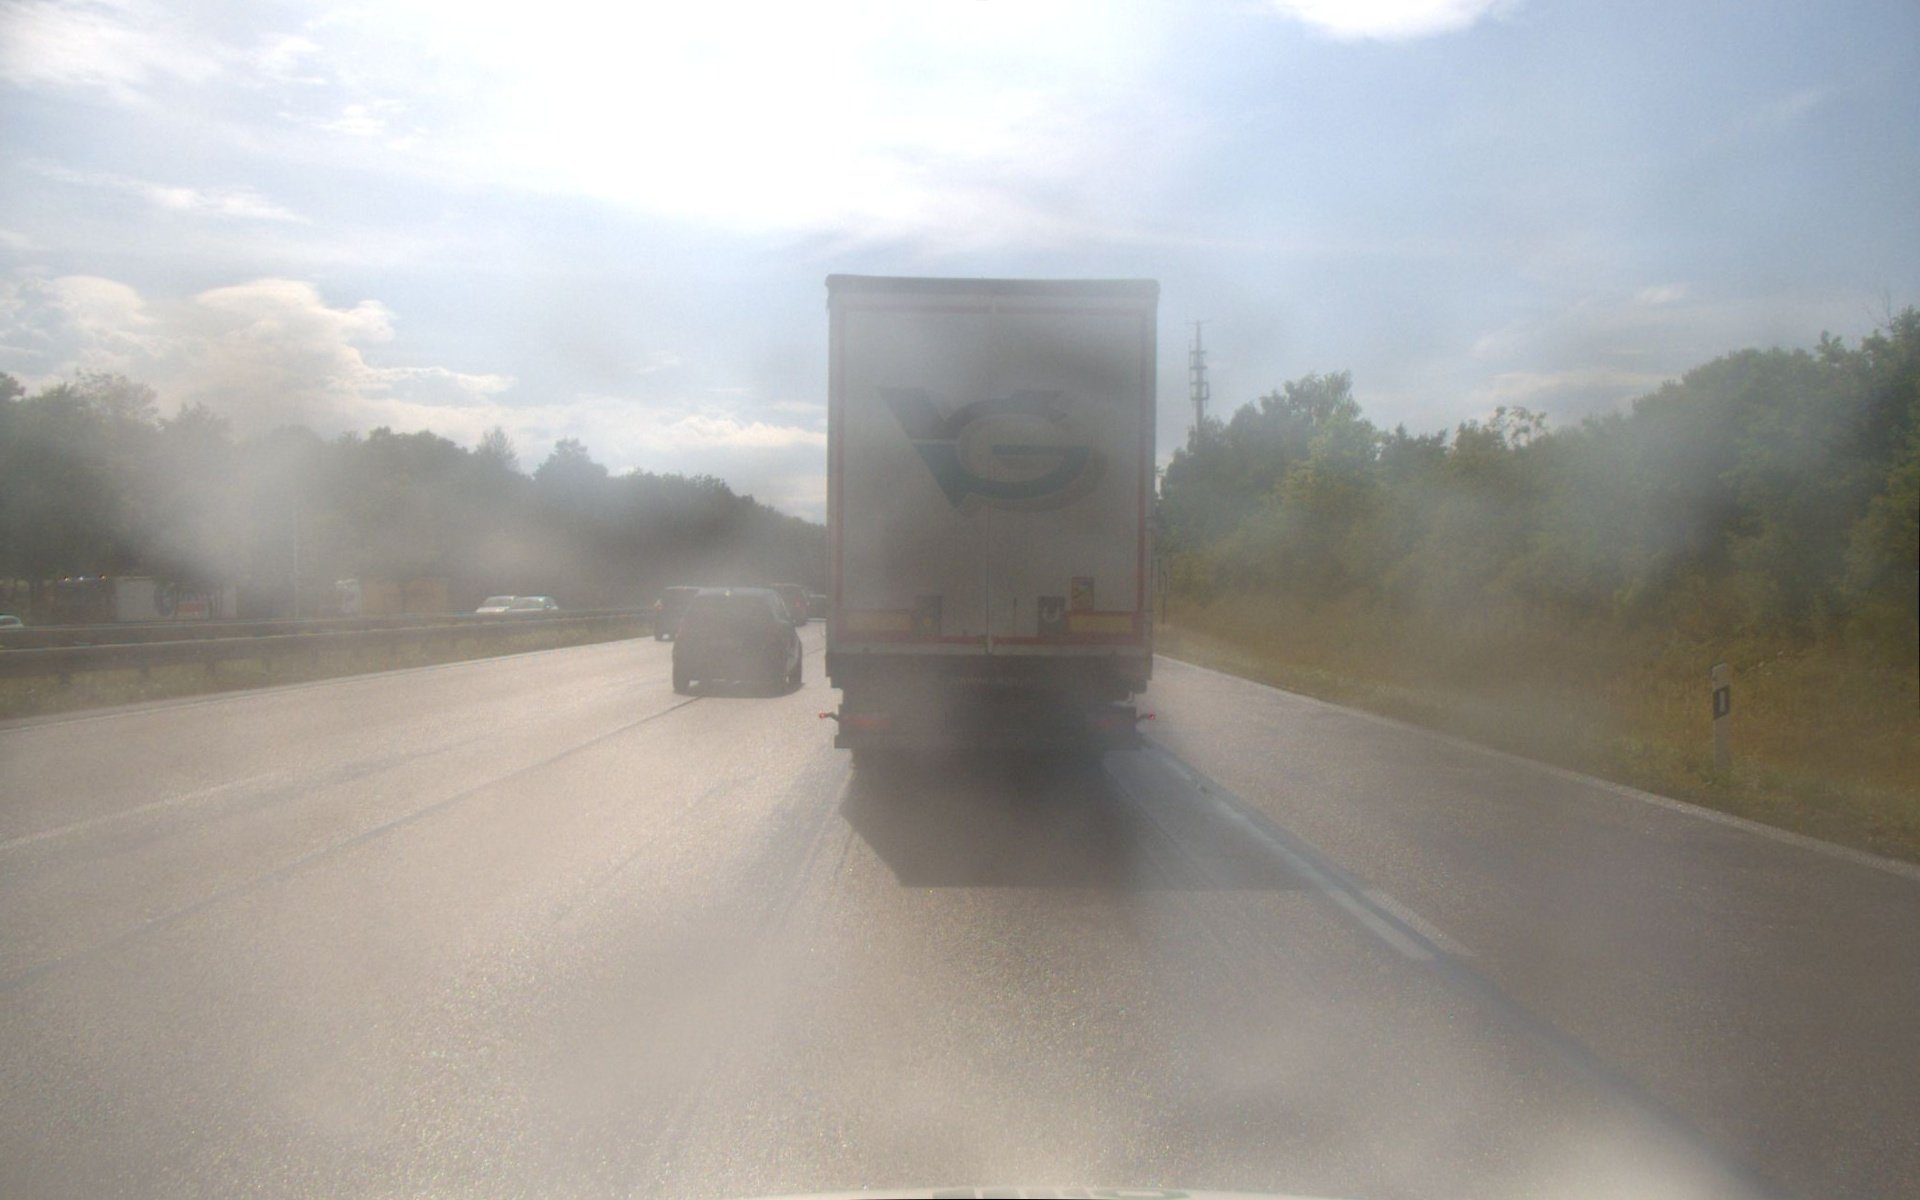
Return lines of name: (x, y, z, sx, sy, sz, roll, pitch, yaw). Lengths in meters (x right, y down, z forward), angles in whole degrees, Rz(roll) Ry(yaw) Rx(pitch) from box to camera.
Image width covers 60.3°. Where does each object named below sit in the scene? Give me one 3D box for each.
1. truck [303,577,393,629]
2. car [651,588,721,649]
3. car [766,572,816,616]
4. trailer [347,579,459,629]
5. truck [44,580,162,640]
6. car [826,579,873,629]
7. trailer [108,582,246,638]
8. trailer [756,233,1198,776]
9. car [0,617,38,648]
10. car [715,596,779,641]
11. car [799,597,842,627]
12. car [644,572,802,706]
truck: (-50.953, 0.298, 137.909, 3.707, 4.189, 7.051, 1, 0, 13)
car: (-8.691, 0.565, 52.714, 1.658, 1.836, 3.974, 1, 0, -2)
car: (-8.403, -0.269, 82.415, 1.938, 2.090, 4.756, 1, 0, 0)
trailer: (-49.046, 0.384, 146.130, 3.707, 4.189, 11.735, 1, 0, 13)
truck: (-55.694, 0.627, 107.707, 3.708, 3.724, 6.709, 1, 0, 5)
car: (-4.284, 0.165, 64.729, 1.658, 1.836, 3.974, 1, 0, -2)
trailer: (-54.803, 0.644, 116.178, 3.708, 3.713, 10.505, 0, 0, 7)
trailer: (0.002, -0.727, 19.414, 3.217, 3.967, 14.125, 1, 0, -1)
car: (-56.755, 1.896, 97.690, 2.016, 1.748, 4.369, 1, 0, 2)
car: (-8.318, 0.718, 65.012, 1.869, 1.665, 4.617, 0, 0, 0)
car: (-7.819, 0.660, 93.072, 1.952, 1.592, 4.756, 1, 0, 0)
car: (-3.794, 0.600, 27.304, 2.230, 1.989, 4.816, 1, 0, -5)
